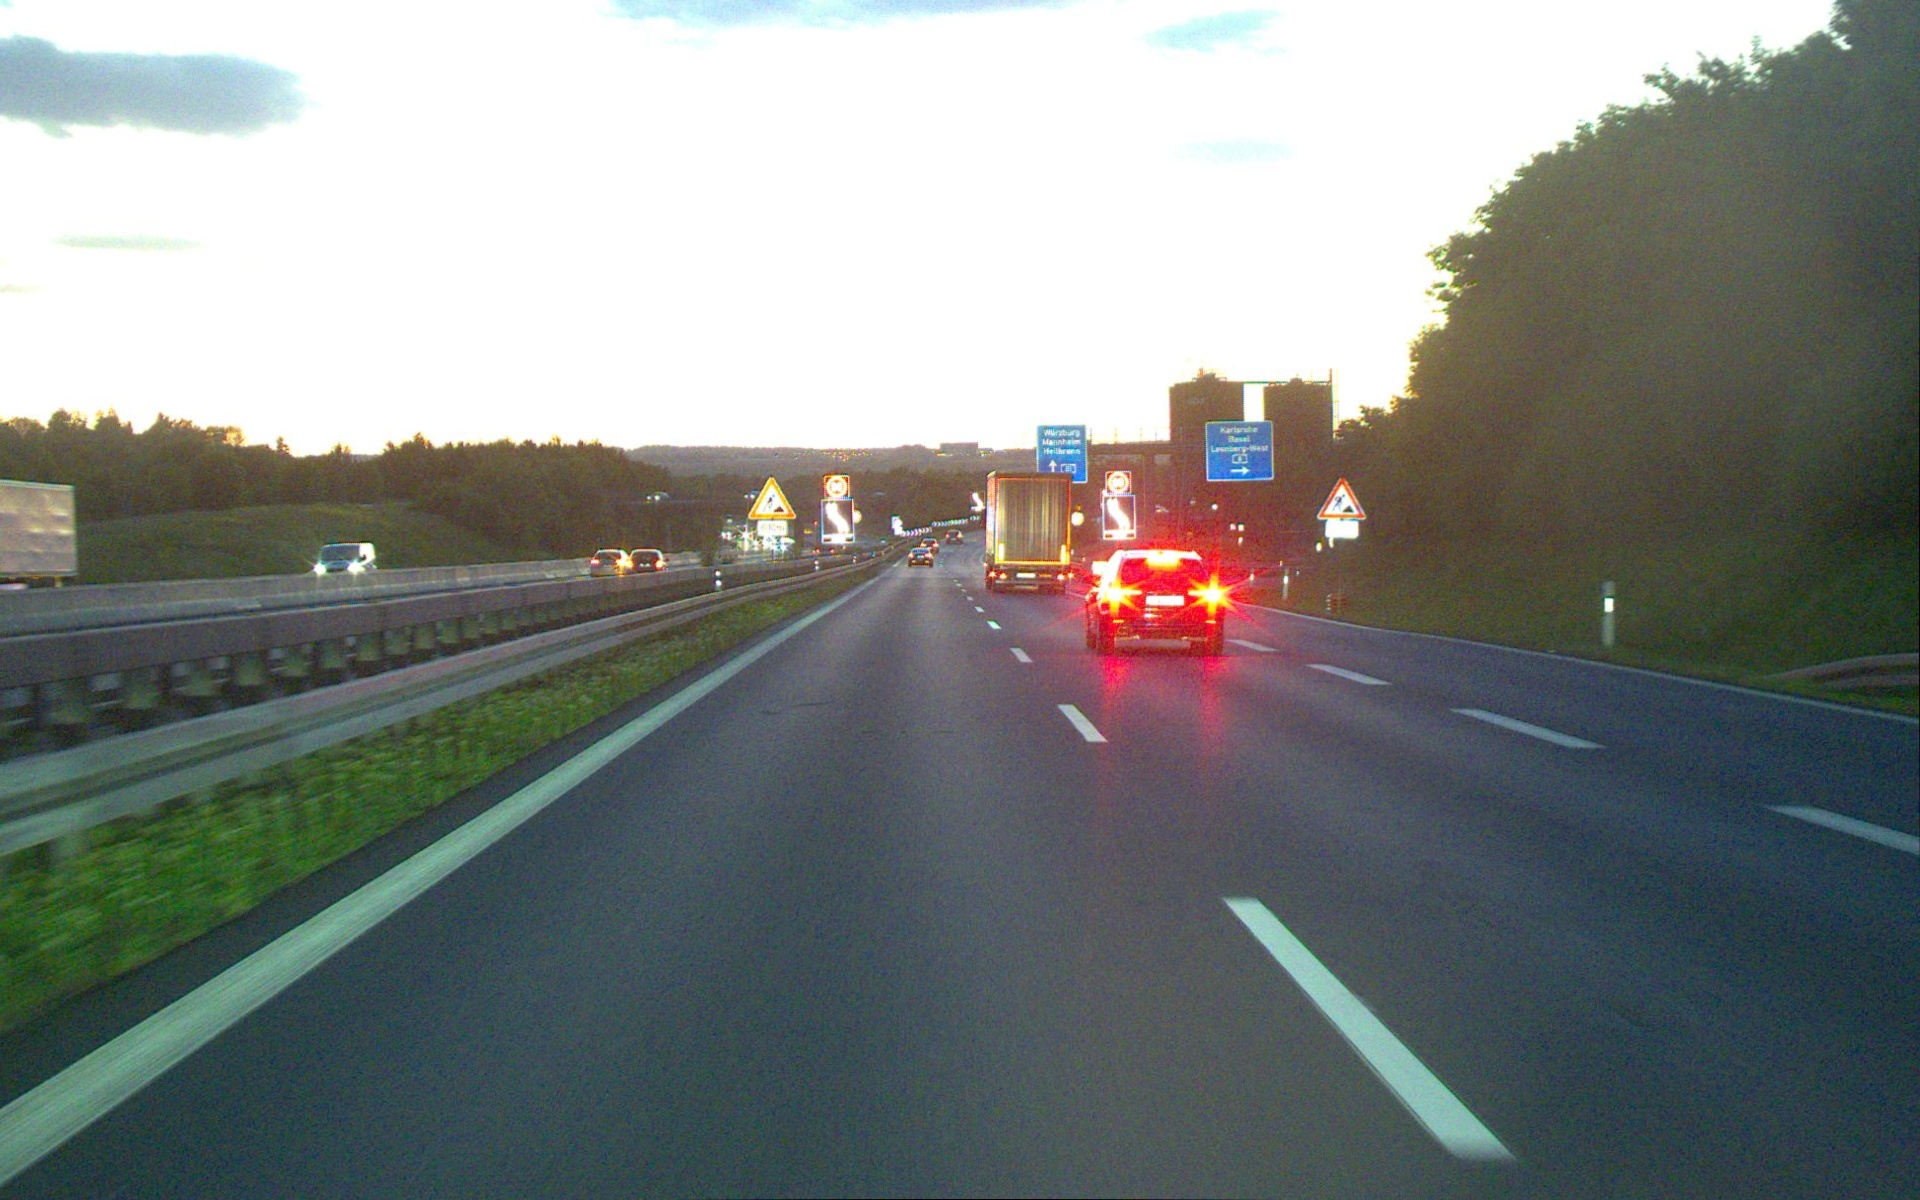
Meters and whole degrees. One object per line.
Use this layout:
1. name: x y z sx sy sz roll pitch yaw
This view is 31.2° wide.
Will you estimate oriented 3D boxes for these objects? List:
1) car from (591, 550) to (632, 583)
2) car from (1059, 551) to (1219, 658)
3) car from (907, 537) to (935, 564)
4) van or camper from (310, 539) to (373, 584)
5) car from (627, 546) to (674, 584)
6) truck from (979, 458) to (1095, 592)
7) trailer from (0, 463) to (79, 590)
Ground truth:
1. car: -16.953 -1.636 167.485 1.638 1.541 3.395 -1 1 0
2. car: 2.521 0.038 49.284 1.915 1.437 4.000 -1 1 -2
3. car: -2.959 -3.741 260.319 1.993 2.007 4.000 -1 1 -1
4. van or camper: -26.484 -1.676 147.392 1.890 1.900 5.541 0 1 -2
5. car: -13.443 -1.516 149.381 1.713 1.600 3.722 -1 1 -1
6. truck: 2.549 -2.521 117.701 3.509 4.286 9.892 -1 1 -1
7. trailer: -30.161 -2.171 104.578 3.327 3.752 13.887 -1 1 -1
